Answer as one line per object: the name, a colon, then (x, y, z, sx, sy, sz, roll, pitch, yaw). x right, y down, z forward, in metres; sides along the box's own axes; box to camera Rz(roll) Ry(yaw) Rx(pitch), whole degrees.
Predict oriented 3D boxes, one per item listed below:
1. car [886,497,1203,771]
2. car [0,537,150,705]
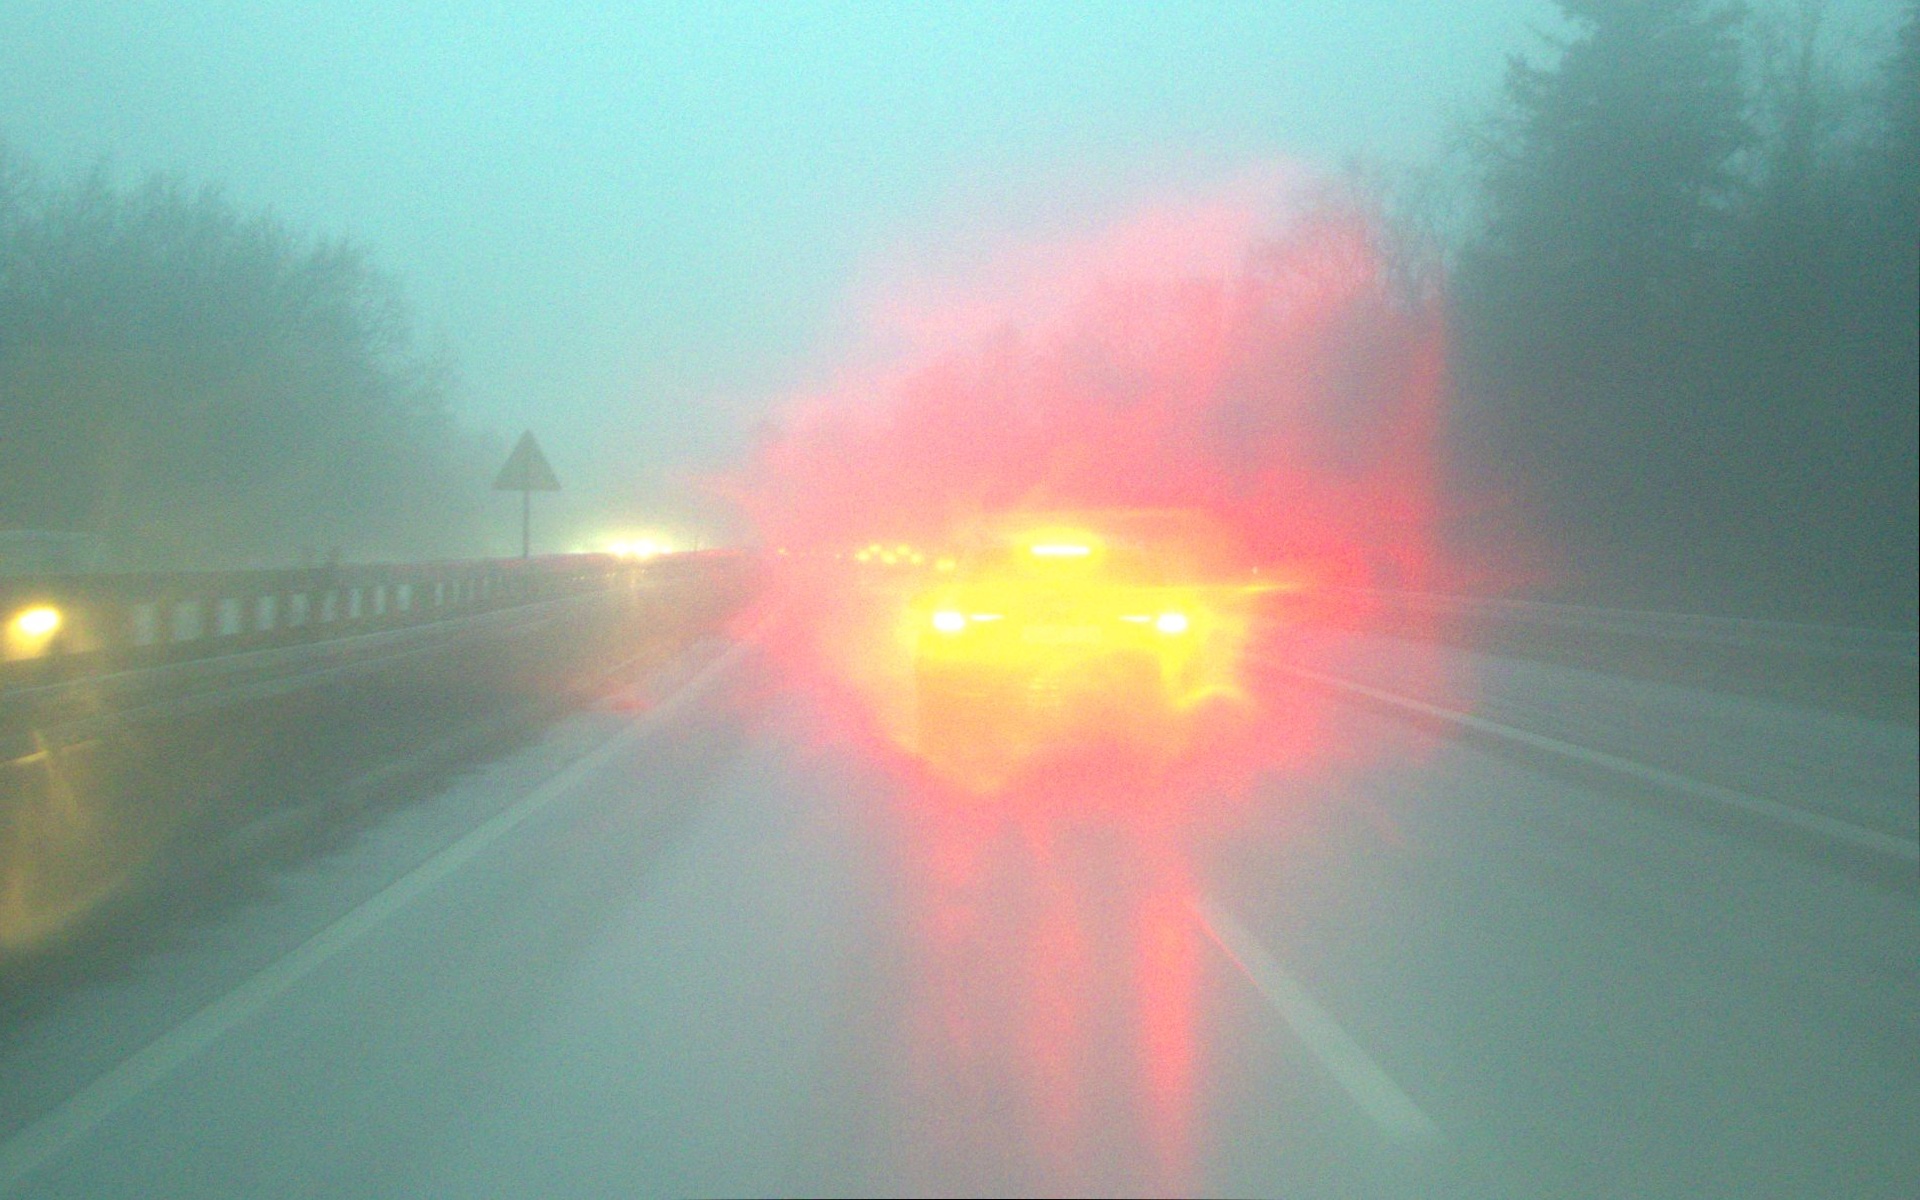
car: (0.513, 0.209, 24.607, 1.924, 1.785, 3.941, 1, 0, -3)
car: (-9.397, 0.154, 34.068, 1.833, 1.543, 4.529, 1, 1, -2)
